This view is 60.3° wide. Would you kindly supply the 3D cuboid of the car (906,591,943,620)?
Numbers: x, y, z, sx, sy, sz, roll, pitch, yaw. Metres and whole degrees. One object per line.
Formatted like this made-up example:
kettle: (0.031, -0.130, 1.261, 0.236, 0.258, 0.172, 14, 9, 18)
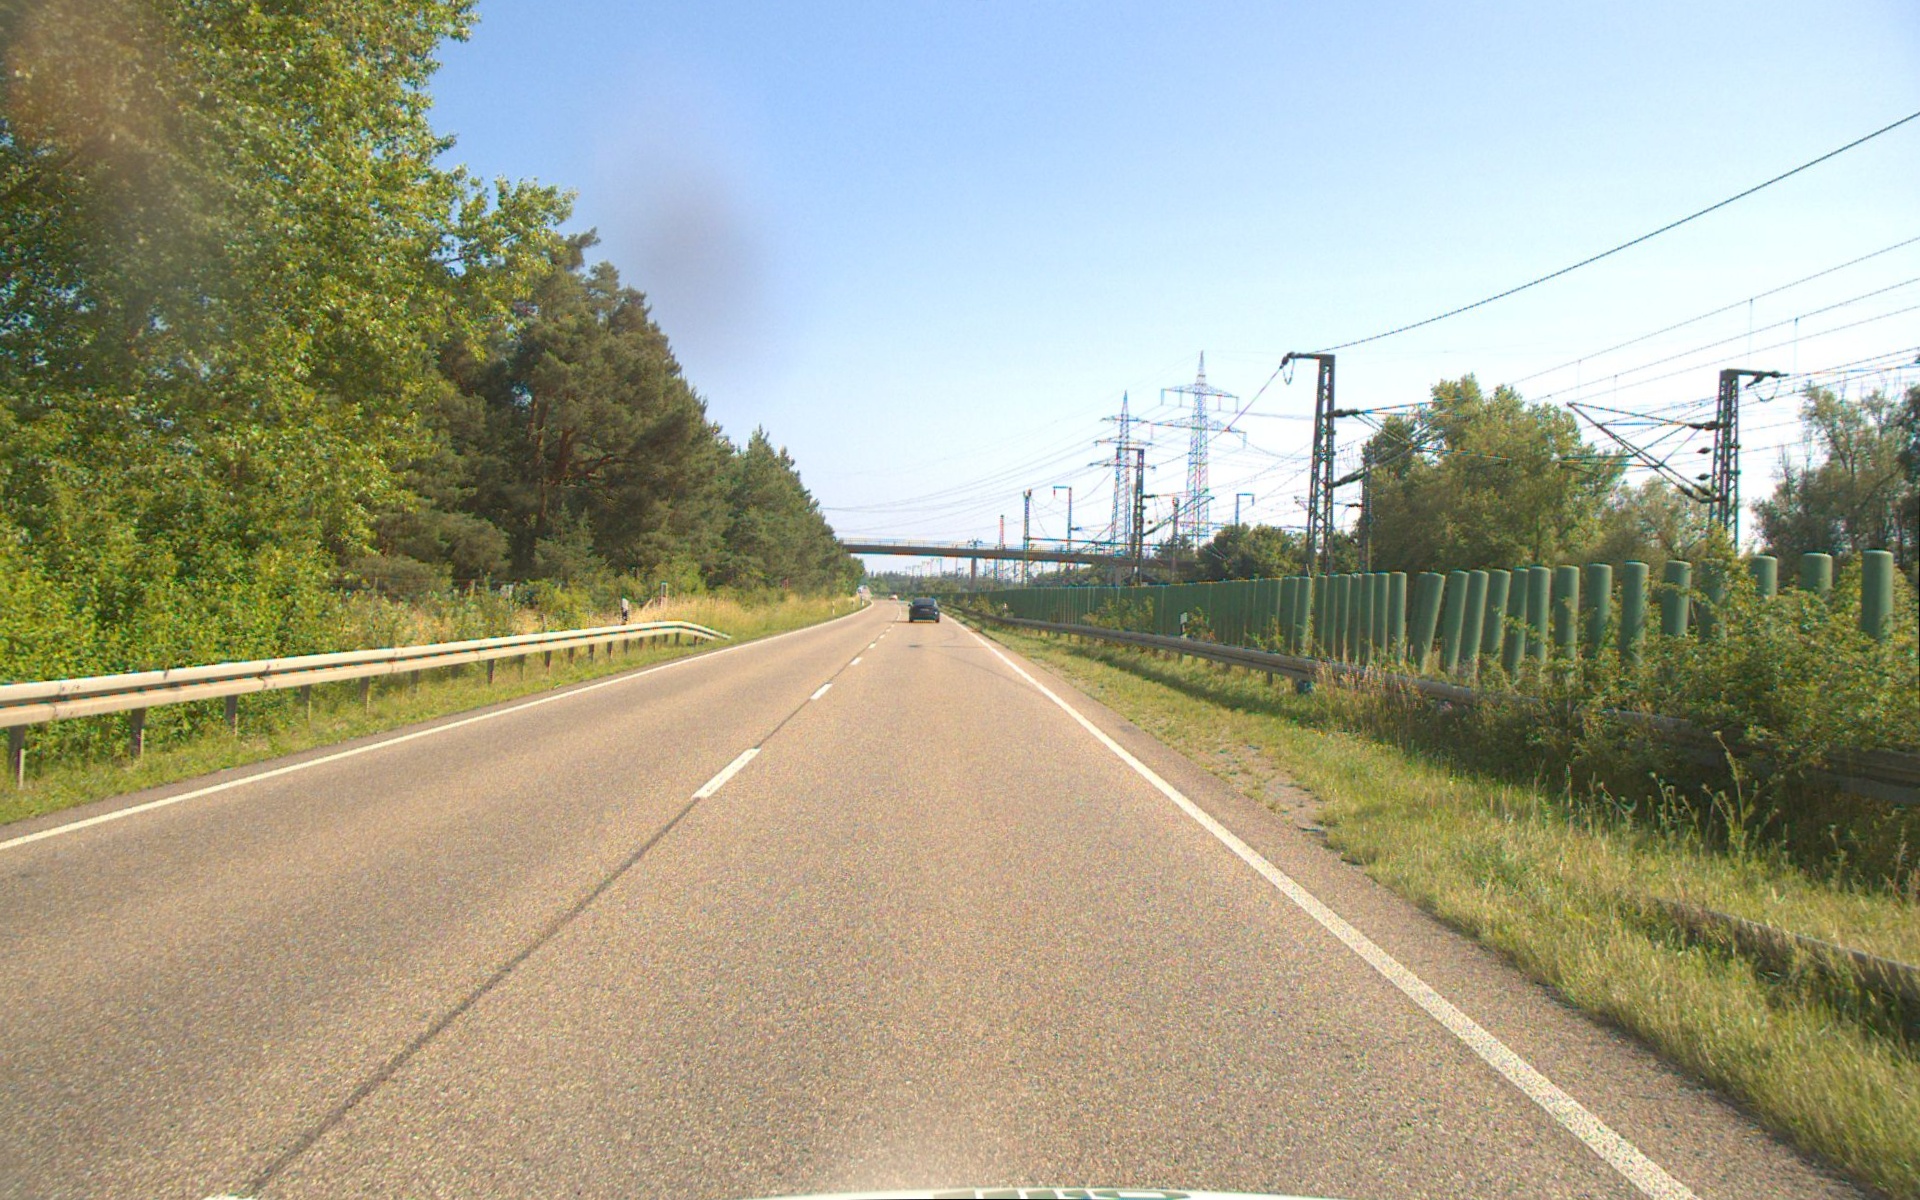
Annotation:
car: (-2.140, 0.319, 99.067, 1.823, 1.670, 3.994, 0, 0, -7)
